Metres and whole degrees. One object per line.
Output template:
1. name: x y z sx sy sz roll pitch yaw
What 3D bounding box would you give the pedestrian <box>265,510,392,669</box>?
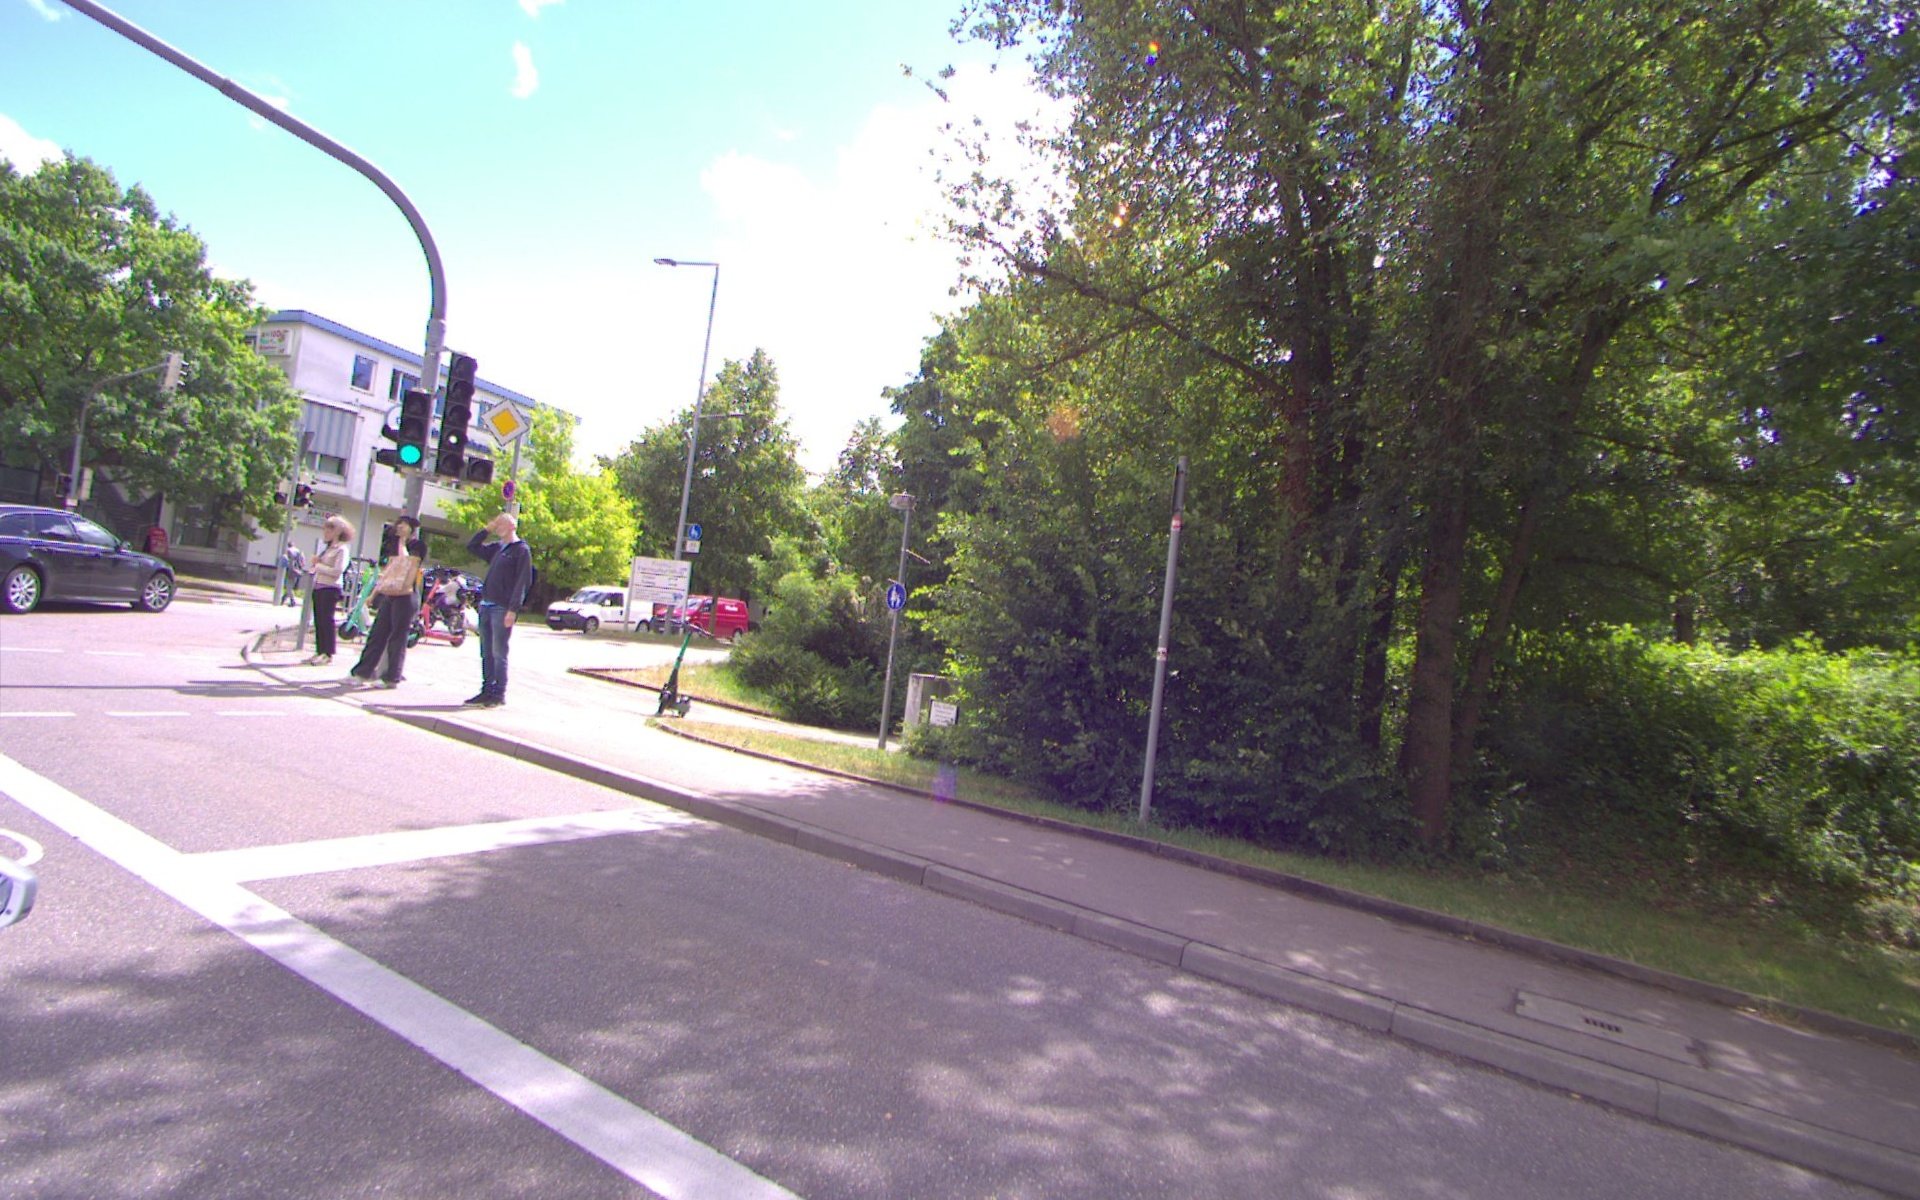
1. pedestrian: -7.351 -0.120 11.716 0.950 1.694 0.860 7 0 -43

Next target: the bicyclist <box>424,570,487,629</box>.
1. bicyclist: -10.040 -0.012 20.050 0.625 1.034 0.794 7 -2 27

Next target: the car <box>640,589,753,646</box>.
1. car: -11.067 0.799 42.607 1.964 1.885 4.822 5 -3 22

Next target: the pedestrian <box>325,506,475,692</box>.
1. pedestrian: -5.812 0.004 10.484 0.758 1.787 0.936 7 0 20

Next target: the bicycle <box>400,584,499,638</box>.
1. bicycle: -10.223 0.216 20.124 1.776 0.828 0.794 7 -2 27

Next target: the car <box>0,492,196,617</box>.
1. car: -13.426 -0.672 14.334 1.966 1.571 4.517 7 -2 -8

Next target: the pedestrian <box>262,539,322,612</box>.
1. pedestrian: -16.804 -0.616 25.298 0.892 1.662 0.770 7 -2 31

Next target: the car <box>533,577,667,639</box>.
1. car: -13.276 0.353 37.396 1.963 1.737 4.576 7 -2 22

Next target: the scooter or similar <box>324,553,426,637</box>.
1. scooter or similar: -9.343 -0.053 16.127 0.533 1.168 1.362 9 -3 7

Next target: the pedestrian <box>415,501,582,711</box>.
1. pedestrian: -4.663 0.081 10.207 0.881 1.964 0.969 7 -1 27

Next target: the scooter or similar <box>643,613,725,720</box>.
1. scooter or similar: -3.738 0.929 13.728 0.706 1.287 1.243 10 -7 -7

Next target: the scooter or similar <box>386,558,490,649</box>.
1. scooter or similar: -8.328 0.082 16.099 0.547 1.254 1.232 8 -3 23

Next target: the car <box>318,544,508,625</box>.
1. car: -16.221 -0.396 30.106 1.964 1.737 4.574 7 -2 25

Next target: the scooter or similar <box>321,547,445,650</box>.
1. scooter or similar: -8.274 0.001 14.466 0.455 1.292 1.344 8 -1 38
